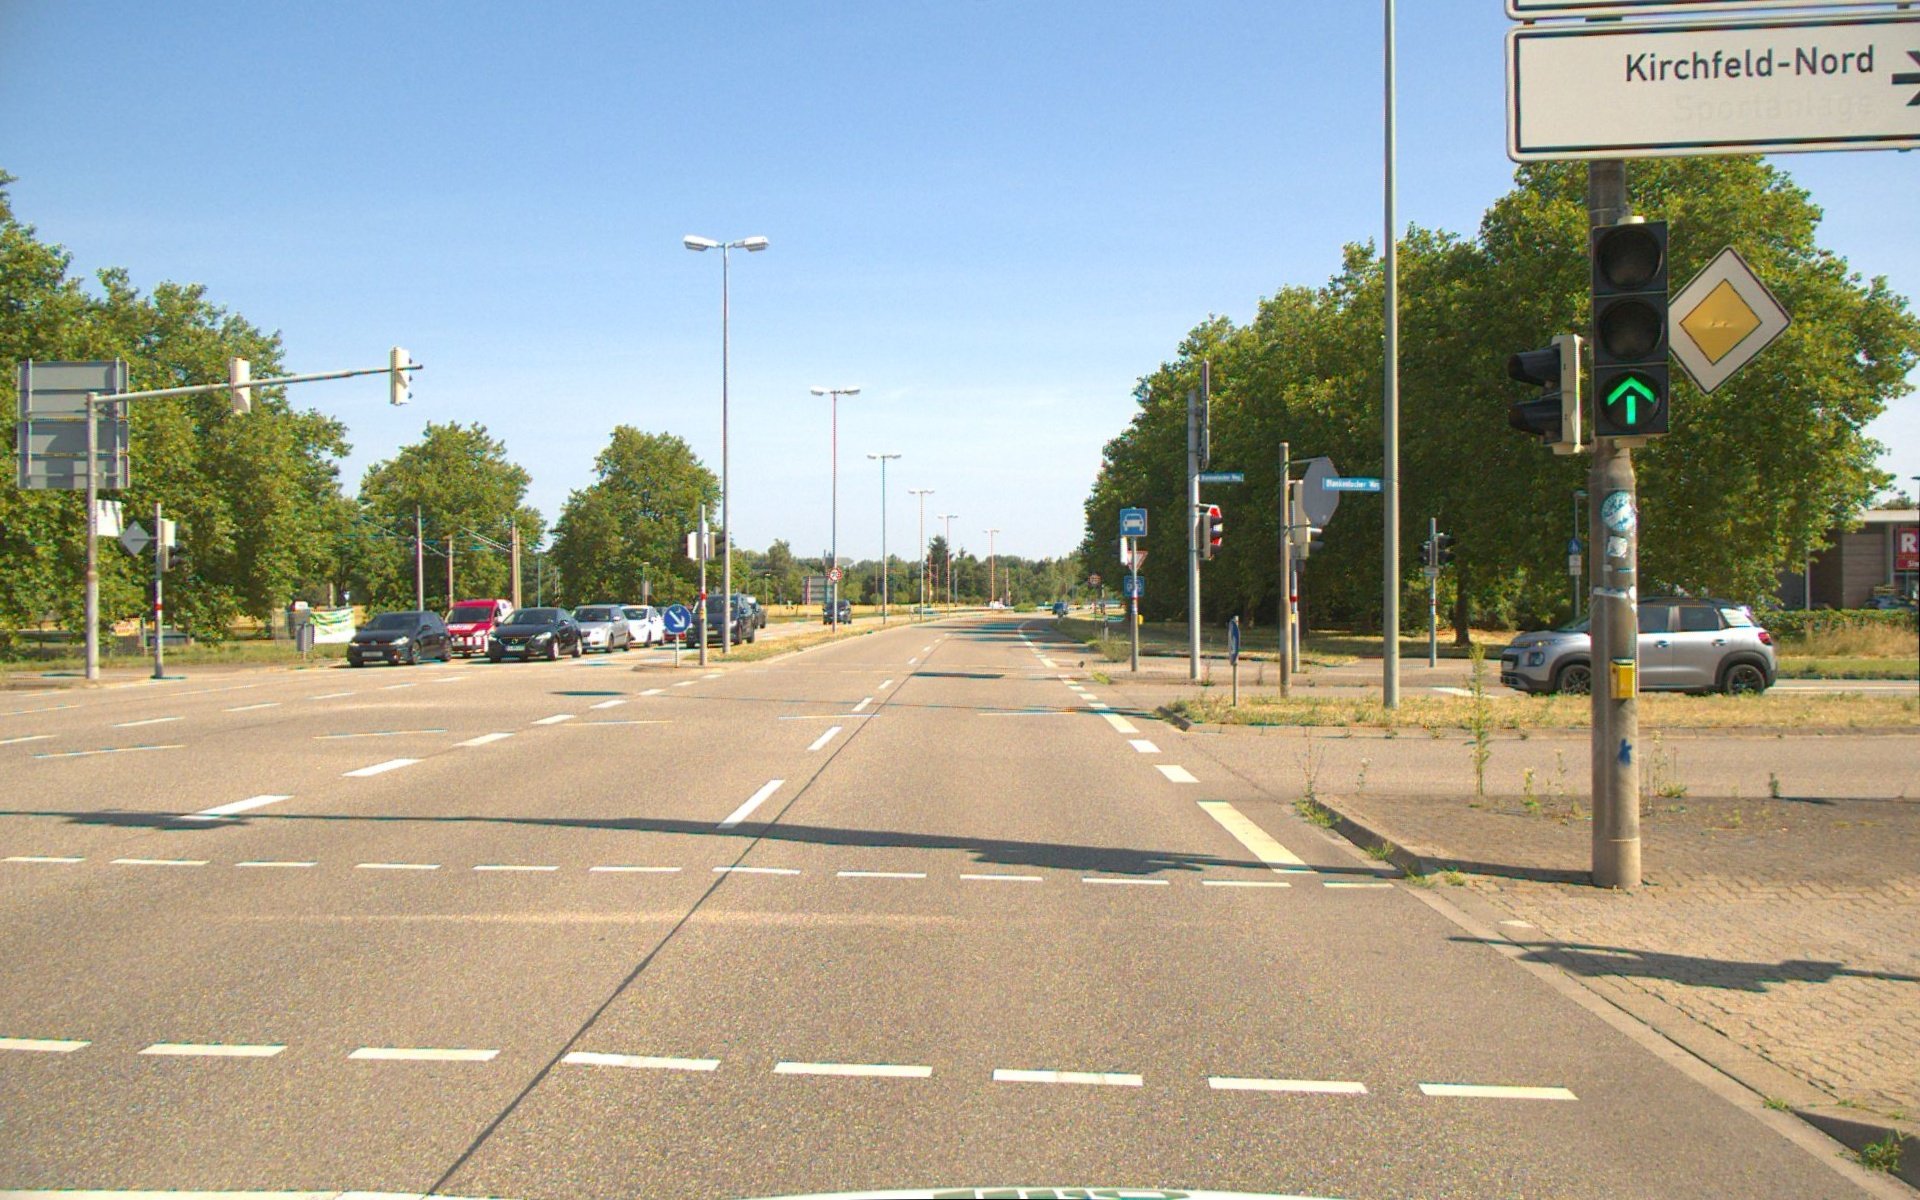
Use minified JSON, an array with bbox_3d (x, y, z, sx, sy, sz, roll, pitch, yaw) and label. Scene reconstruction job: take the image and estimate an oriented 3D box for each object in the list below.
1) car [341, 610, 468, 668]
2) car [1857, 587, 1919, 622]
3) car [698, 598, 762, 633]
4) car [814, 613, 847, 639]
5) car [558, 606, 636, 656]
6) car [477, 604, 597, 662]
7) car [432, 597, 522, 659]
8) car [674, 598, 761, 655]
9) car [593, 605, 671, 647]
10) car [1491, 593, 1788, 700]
[{"bbox_3d":[-15.149,1.035,45.325,1.846,1.483,4.231,-1,0,3],"label":"car"},{"bbox_3d":[49.348,0.218,85.895,4.398,1.781,1.989,-1,0,6],"label":"car"},{"bbox_3d":[-10.059,0.673,72.548,1.940,1.483,4.452,-1,0,3],"label":"car"},{"bbox_3d":[-9.611,1.917,123.287,1.940,1.811,4.491,-1,0,2],"label":"car"},{"bbox_3d":[-11.380,0.947,52.112,1.586,1.483,3.871,-1,0,0],"label":"car"},{"bbox_3d":[-11.434,0.856,45.001,1.940,1.483,4.334,-1,0,3],"label":"car"},{"bbox_3d":[-14.932,0.851,51.356,1.670,1.800,4.227,-2,0,-3],"label":"car"},{"bbox_3d":[-7.877,0.836,54.200,1.940,1.781,4.509,-1,0,3],"label":"car"},{"bbox_3d":[-11.612,0.899,58.752,1.790,1.410,3.844,-1,0,3],"label":"car"},{"bbox_3d":[10.619,0.709,26.041,3.968,1.591,1.743,-1,0,0],"label":"car"}]
